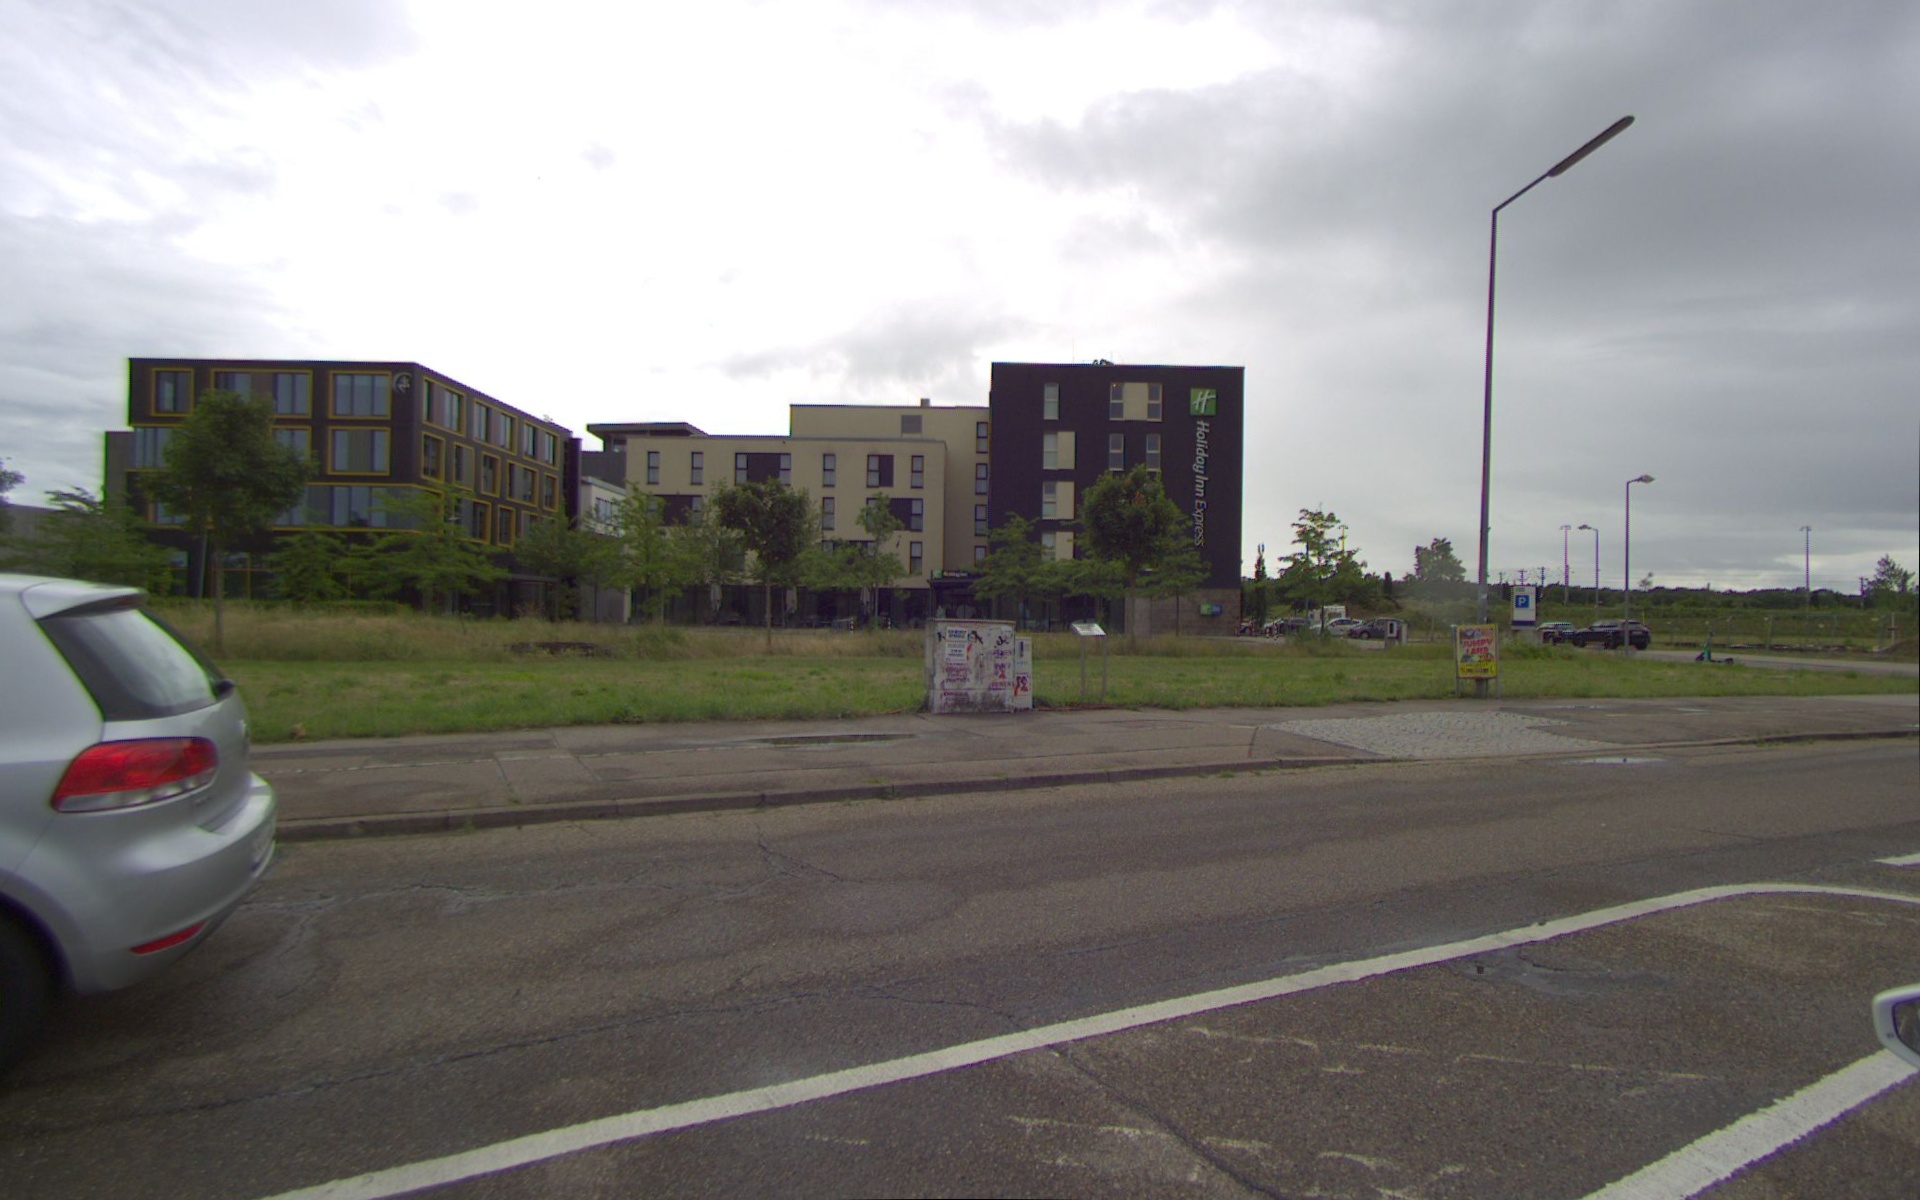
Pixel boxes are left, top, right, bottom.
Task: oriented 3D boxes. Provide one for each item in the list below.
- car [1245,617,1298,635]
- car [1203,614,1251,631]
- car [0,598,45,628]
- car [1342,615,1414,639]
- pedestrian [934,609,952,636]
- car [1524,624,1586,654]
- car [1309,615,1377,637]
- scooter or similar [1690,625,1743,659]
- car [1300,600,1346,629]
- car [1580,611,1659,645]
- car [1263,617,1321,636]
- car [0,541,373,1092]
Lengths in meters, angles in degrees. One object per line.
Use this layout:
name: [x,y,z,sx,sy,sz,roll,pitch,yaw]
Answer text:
car: [26.124,2.170,84.274,3.922,1.416,1.745,1,-1,-2]
car: [24.450,2.074,91.945,3.922,1.478,1.745,1,-1,-2]
car: [-50.638,0.683,52.366,3.924,1.543,1.999,0,-2,-5]
car: [26.759,1.718,64.321,3.921,1.461,1.698,0,0,-1]
pedestrian: [-1.005,1.315,58.577,0.861,1.592,0.951,0,0,-16]
car: [36.871,2.379,62.320,1.769,1.776,3.677,0,0,3]
car: [27.311,1.827,71.722,4.076,1.537,1.998,0,0,-7]
scooter or similar: [27.764,1.529,36.876,0.563,1.184,1.458,1,0,-24]
car: [37.808,1.490,104.835,2.660,2.996,6.577,0,0,1]
car: [37.132,1.549,56.682,1.960,1.847,4.001,0,0,2]
car: [25.870,2.066,78.223,3.923,1.416,1.744,1,-1,-3]
car: [-4.020,0.530,2.819,4.007,1.481,1.664,1,1,-29]
